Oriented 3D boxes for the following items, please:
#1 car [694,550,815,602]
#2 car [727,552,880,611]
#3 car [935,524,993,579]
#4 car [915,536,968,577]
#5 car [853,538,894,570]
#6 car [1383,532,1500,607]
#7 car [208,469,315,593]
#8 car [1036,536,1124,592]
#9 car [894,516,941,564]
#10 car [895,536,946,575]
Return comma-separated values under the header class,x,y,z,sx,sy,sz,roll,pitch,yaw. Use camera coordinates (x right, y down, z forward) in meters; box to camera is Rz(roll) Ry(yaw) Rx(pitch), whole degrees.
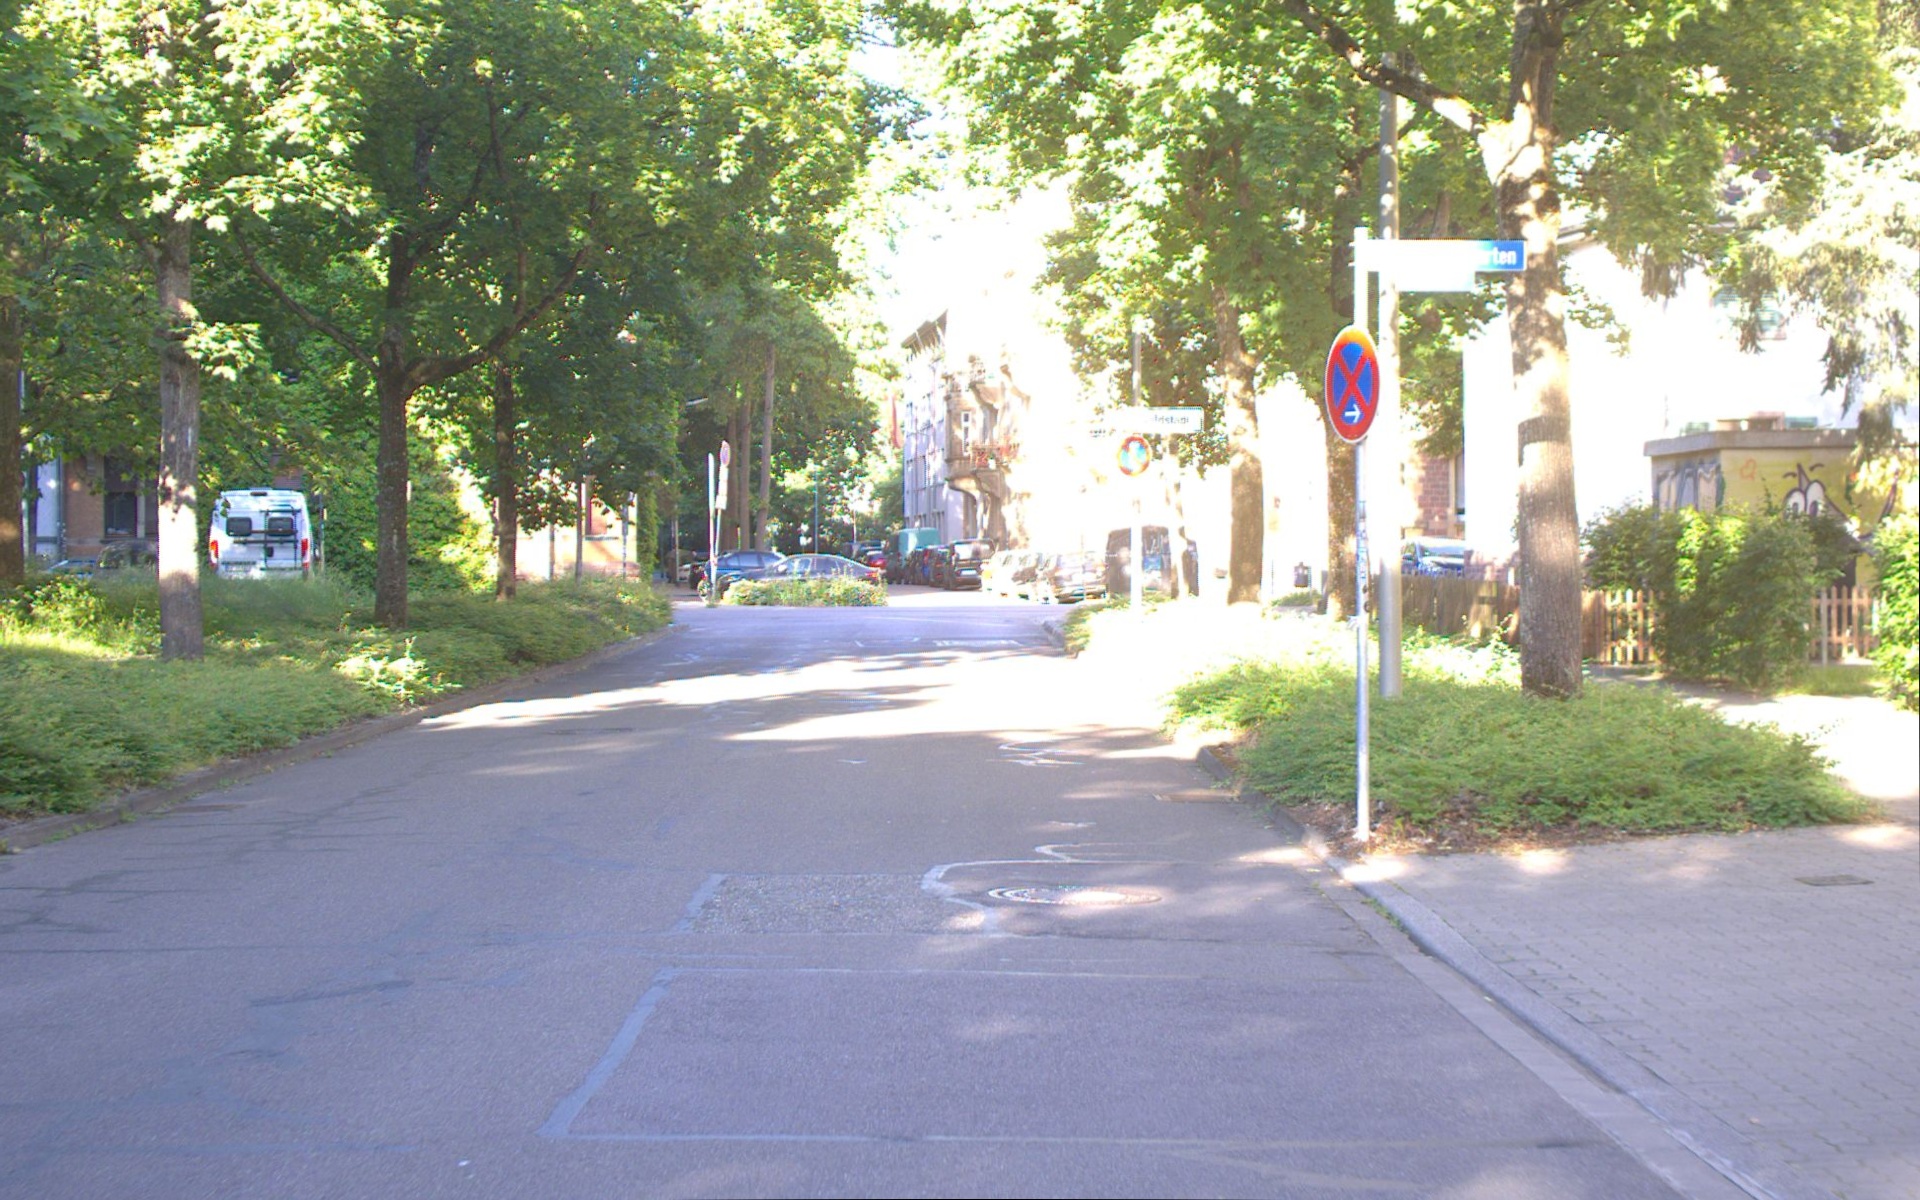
class,x,y,z,sx,sy,sz,roll,pitch,yaw
car,-6.354,-0.738,105.924,3.586,1.505,1.500,1,1,-8
car,-4.264,-0.503,93.440,3.986,1.496,1.818,1,1,-8
car,0.129,-1.762,124.286,1.811,1.919,4.001,1,1,-4
car,-0.725,-1.694,132.432,1.811,1.496,4.001,1,1,-4
car,-4.182,-2.246,166.161,1.811,1.496,4.001,1,1,-4
car,10.566,-0.682,75.650,1.993,1.579,3.640,1,1,-1
car,-14.642,-1.444,72.216,1.993,2.499,4.001,1,1,-9
car,3.314,-1.014,95.615,1.811,1.496,4.001,-1,1,-7
car,-1.868,-2.603,149.166,1.811,2.043,4.001,1,1,-4
car,-1.613,-1.806,139.288,1.811,1.496,4.001,1,1,-4
